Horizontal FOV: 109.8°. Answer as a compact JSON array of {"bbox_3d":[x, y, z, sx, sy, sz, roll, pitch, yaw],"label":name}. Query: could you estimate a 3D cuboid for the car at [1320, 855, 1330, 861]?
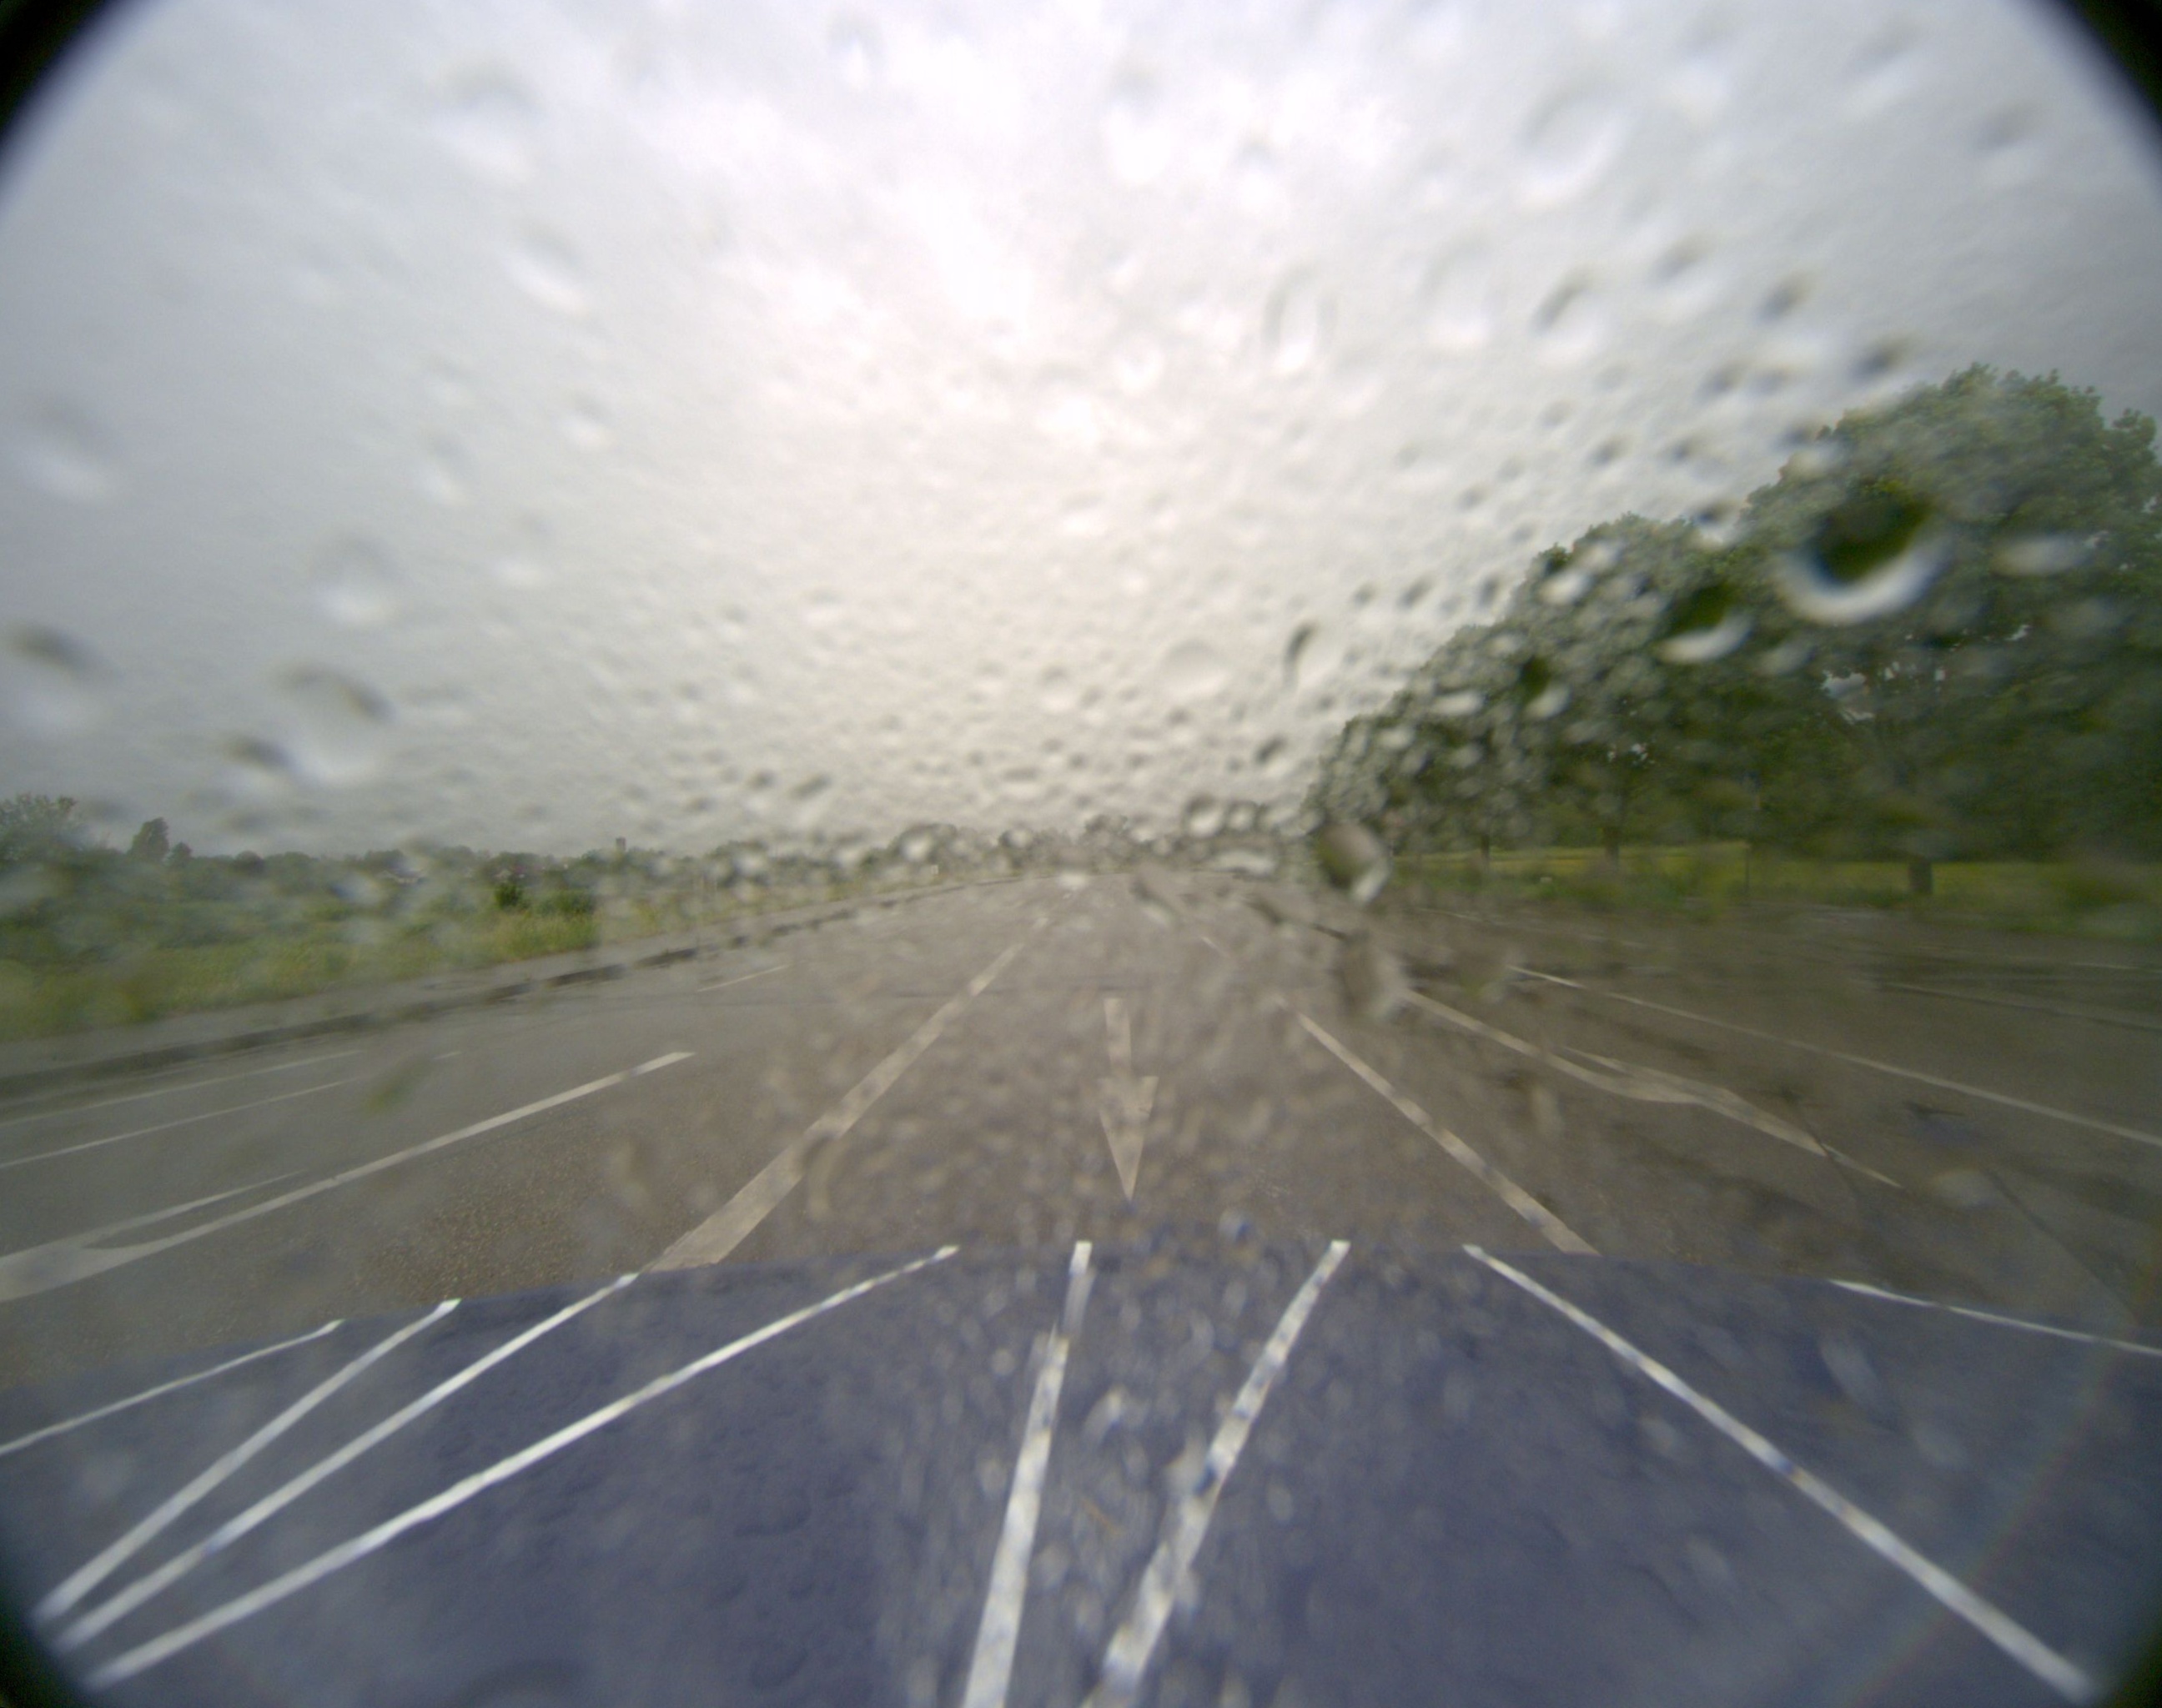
[{"bbox_3d":[59.569,0.974,185.294,1.880,1.564,4.652,0,1,22],"label":"car"}]
